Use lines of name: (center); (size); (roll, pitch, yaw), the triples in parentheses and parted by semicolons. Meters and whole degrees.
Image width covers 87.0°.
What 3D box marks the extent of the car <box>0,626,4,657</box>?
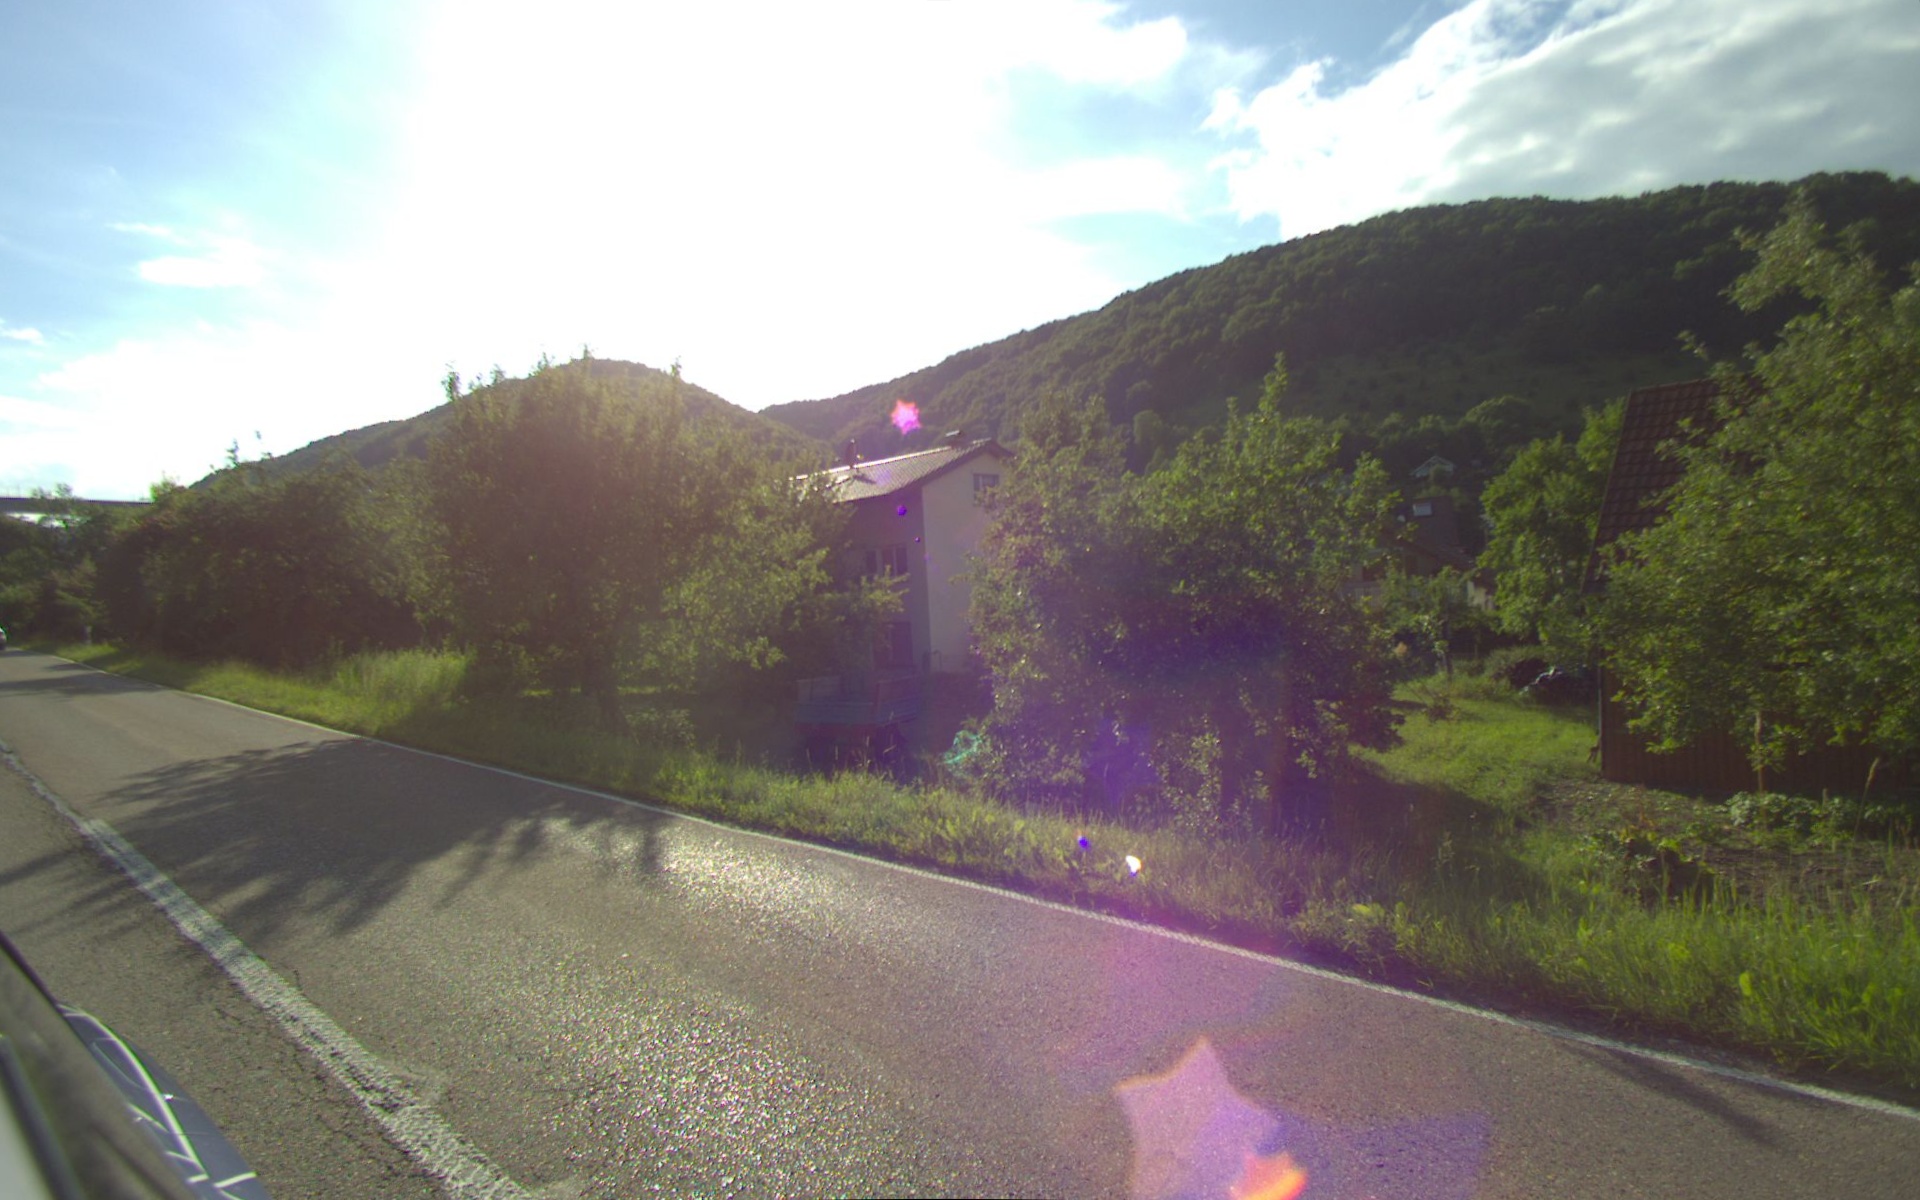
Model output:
car: (-46.499, 1.938, 47.852); (3.664, 1.420, 1.673); (-1, -1, 43)
